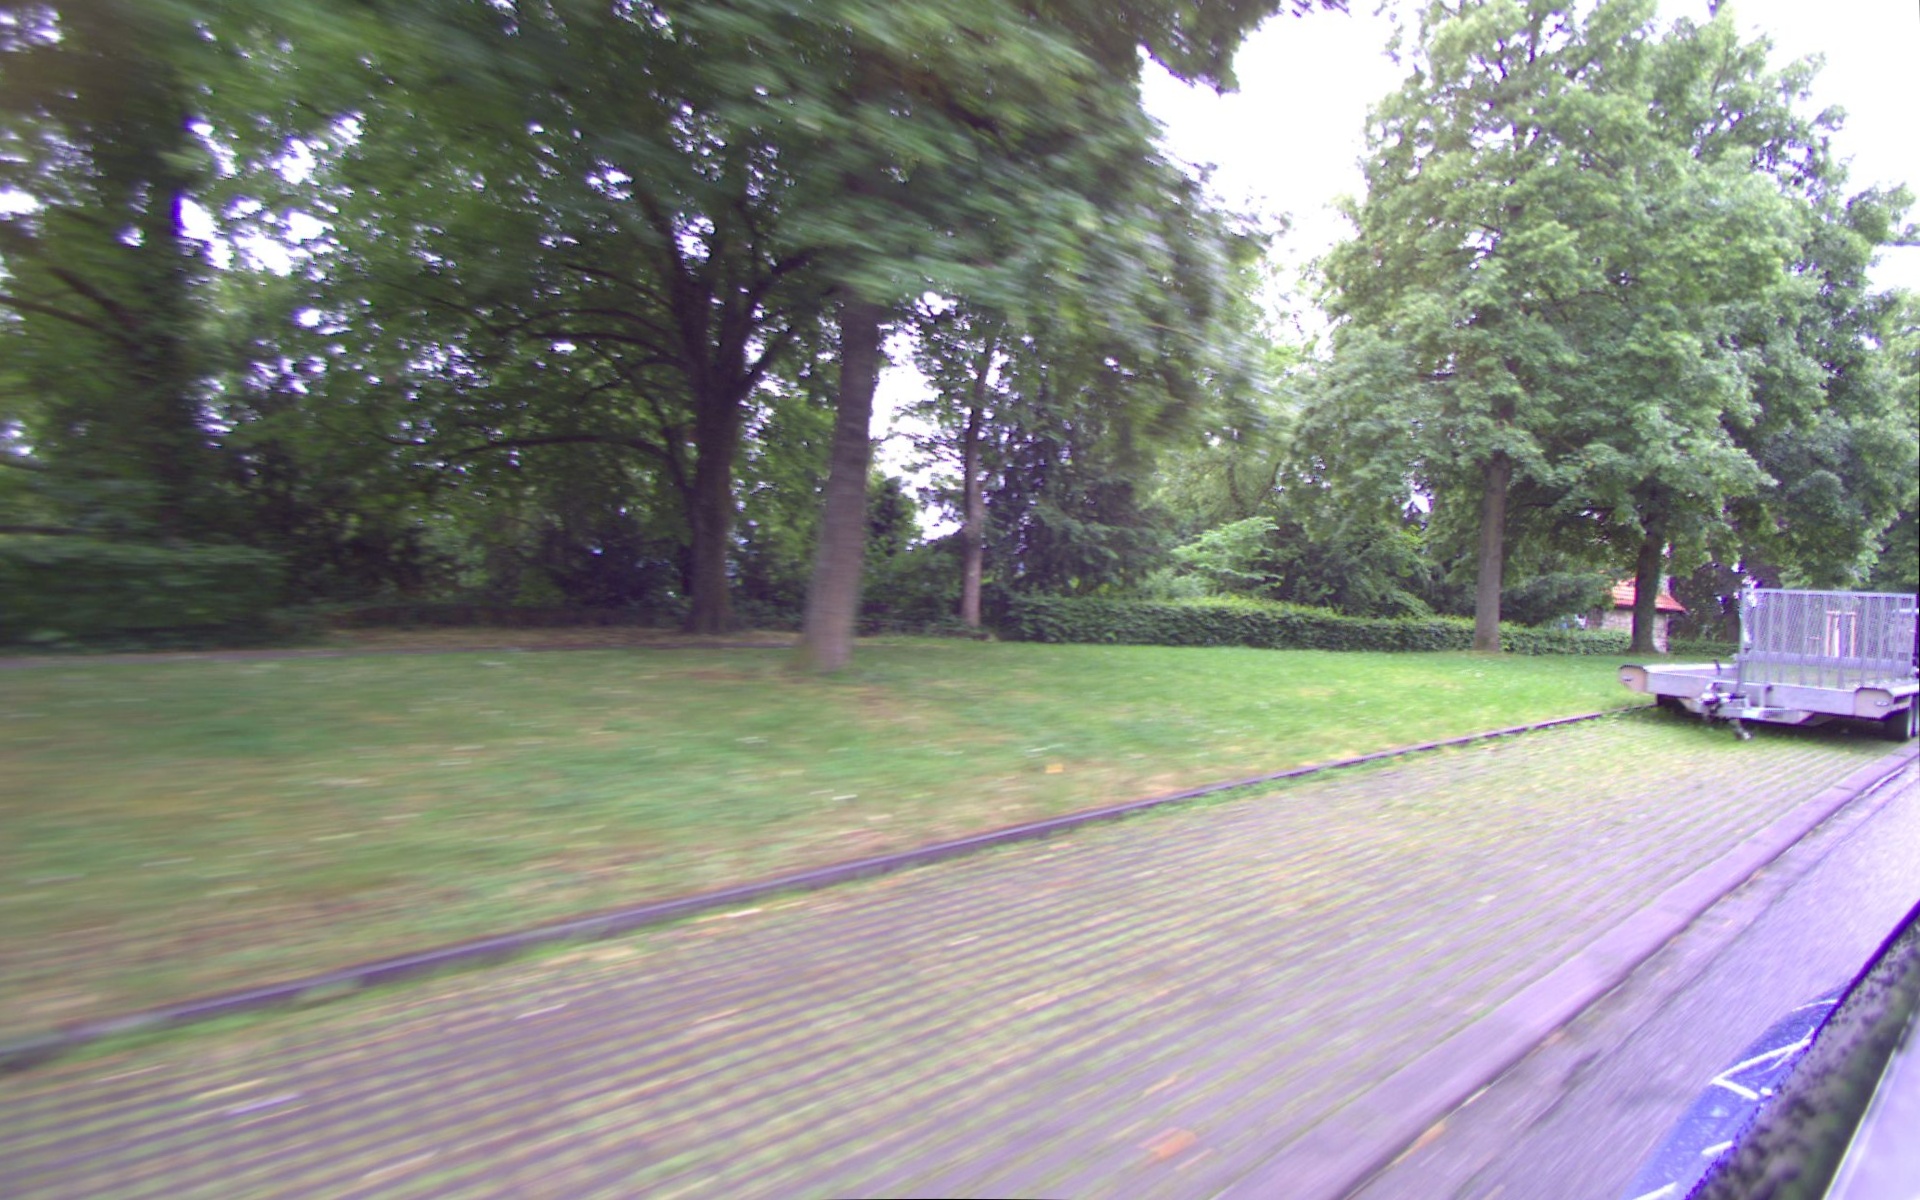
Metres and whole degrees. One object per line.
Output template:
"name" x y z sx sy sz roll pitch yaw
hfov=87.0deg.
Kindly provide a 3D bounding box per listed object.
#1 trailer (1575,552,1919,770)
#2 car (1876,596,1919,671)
"trailer" 9.441 0.485 11.455 5.787 1.835 2.455 0 2 -40
"car" 23.004 0.846 22.836 1.587 1.701 3.992 3 2 13
